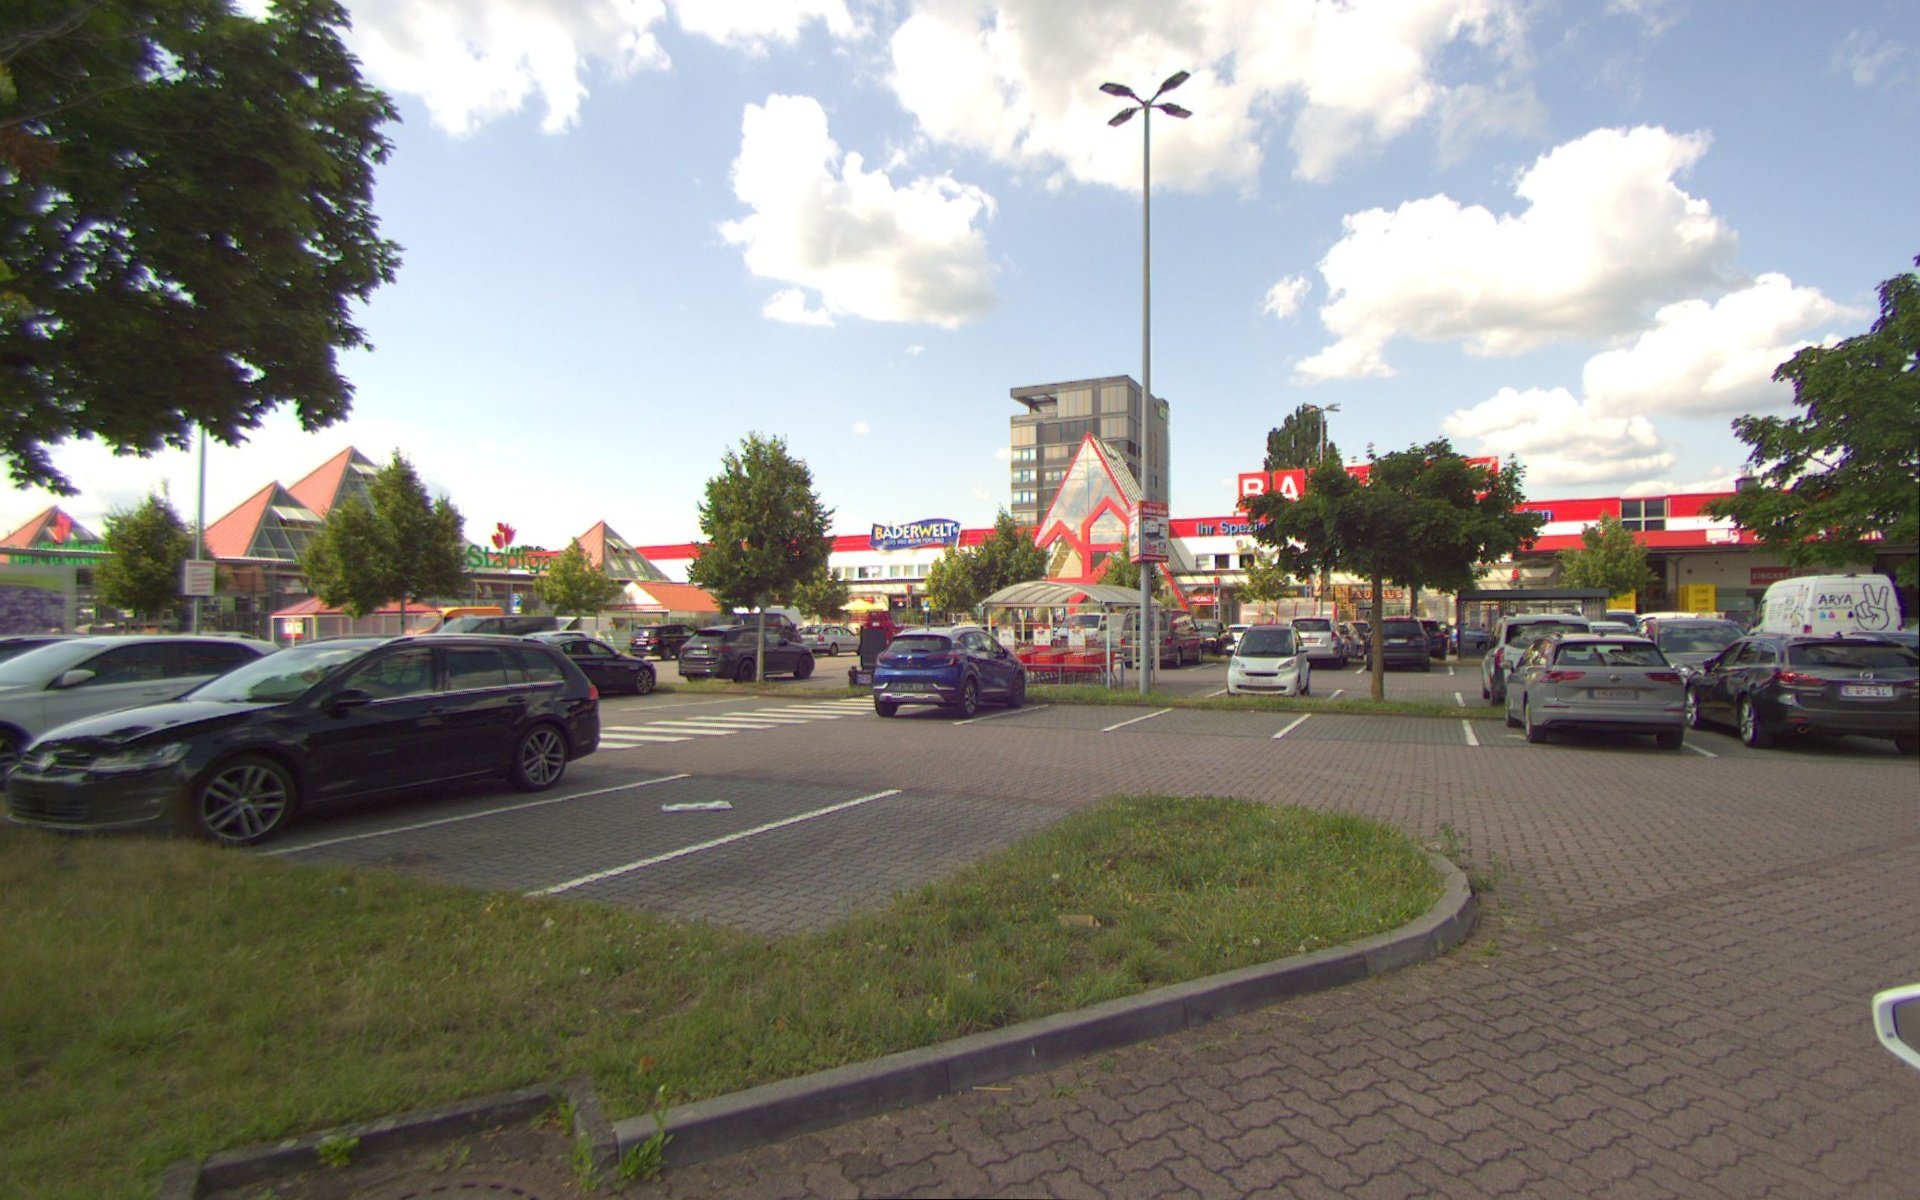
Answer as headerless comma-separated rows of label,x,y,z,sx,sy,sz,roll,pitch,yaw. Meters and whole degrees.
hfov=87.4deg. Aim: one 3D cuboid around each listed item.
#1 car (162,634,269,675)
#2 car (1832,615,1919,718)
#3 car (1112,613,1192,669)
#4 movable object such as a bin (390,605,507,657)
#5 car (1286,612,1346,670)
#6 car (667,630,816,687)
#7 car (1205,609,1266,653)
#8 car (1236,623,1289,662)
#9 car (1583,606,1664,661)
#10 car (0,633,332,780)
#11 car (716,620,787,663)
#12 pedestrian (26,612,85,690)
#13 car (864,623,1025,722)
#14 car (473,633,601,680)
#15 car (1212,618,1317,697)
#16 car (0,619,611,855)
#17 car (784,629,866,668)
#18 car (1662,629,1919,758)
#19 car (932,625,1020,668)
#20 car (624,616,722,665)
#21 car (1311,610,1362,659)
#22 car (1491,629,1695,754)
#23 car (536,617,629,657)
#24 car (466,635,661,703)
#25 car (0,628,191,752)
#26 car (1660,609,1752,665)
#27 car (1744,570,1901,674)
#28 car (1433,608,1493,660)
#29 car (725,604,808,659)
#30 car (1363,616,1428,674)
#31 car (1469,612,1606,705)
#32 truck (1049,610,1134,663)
car,-28.978,2.085,39.159,1.435,1.440,2.986,3,-1,27
car,16.733,1.090,17.292,1.966,1.639,3.990,-1,-2,32
car,6.651,1.374,34.494,1.961,1.802,3.999,-1,-2,22
movable object such as a bin,-26.193,1.586,51.703,2.089,2.526,5.337,-1,-2,20
car,11.601,1.316,32.635,1.572,1.766,3.165,-2,-2,24
car,-6.162,1.618,28.875,1.962,1.487,4.413,-1,-2,24
car,13.887,1.577,50.553,1.964,2.040,3.993,3,-1,30
car,11.966,1.650,39.605,1.708,1.357,3.466,3,-1,20
car,27.055,1.342,41.118,1.961,2.040,3.999,3,-1,23
car,-9.446,1.047,10.809,1.858,1.370,4.280,-1,-2,23
car,-8.637,1.713,41.720,1.663,1.635,2.657,3,-1,21
pedestrian,-24.383,1.366,27.097,0.802,2.040,0.915,-1,-2,24
car,-0.179,1.268,18.748,1.718,1.636,3.724,-1,-2,22
car,-13.581,1.769,32.411,1.712,1.404,3.557,-1,-2,28
car,6.976,1.245,22.752,1.688,1.617,3.997,-1,-2,25
car,-5.087,0.913,8.426,1.759,1.369,4.065,3,-1,23
car,-6.374,2.266,47.818,1.962,1.653,3.997,3,-1,25
car,11.180,1.135,13.611,1.792,1.458,4.090,-1,-2,21
car,0.670,1.730,37.861,1.962,1.528,3.998,-1,-2,23
car,-12.638,1.774,44.408,1.963,2.040,3.995,-1,-2,28
car,17.172,1.551,45.752,1.961,2.040,3.999,3,-1,23
car,8.571,1.139,13.934,1.692,1.465,3.773,-1,-2,21
car,-21.058,2.067,56.219,1.962,2.040,4.804,3,-1,25
car,-8.935,1.500,23.042,1.710,1.381,4.250,-1,-2,22
car,-11.605,1.023,11.621,1.789,1.300,3.890,3,-1,24
car,30.006,1.461,40.544,1.961,2.040,3.999,3,-1,23
car,23.059,0.561,27.091,2.014,2.543,4.724,0,0,26
car,21.918,1.470,43.876,1.961,2.040,3.999,3,-1,23
car,-9.870,1.609,51.560,2.195,2.671,4.329,0,-1,20
car,13.576,1.363,31.322,1.731,1.545,3.467,-2,1,24
car,11.198,1.084,19.735,1.874,1.617,3.998,-1,-2,24
truck,5.721,1.542,42.981,1.826,2.040,5.402,3,-1,27
